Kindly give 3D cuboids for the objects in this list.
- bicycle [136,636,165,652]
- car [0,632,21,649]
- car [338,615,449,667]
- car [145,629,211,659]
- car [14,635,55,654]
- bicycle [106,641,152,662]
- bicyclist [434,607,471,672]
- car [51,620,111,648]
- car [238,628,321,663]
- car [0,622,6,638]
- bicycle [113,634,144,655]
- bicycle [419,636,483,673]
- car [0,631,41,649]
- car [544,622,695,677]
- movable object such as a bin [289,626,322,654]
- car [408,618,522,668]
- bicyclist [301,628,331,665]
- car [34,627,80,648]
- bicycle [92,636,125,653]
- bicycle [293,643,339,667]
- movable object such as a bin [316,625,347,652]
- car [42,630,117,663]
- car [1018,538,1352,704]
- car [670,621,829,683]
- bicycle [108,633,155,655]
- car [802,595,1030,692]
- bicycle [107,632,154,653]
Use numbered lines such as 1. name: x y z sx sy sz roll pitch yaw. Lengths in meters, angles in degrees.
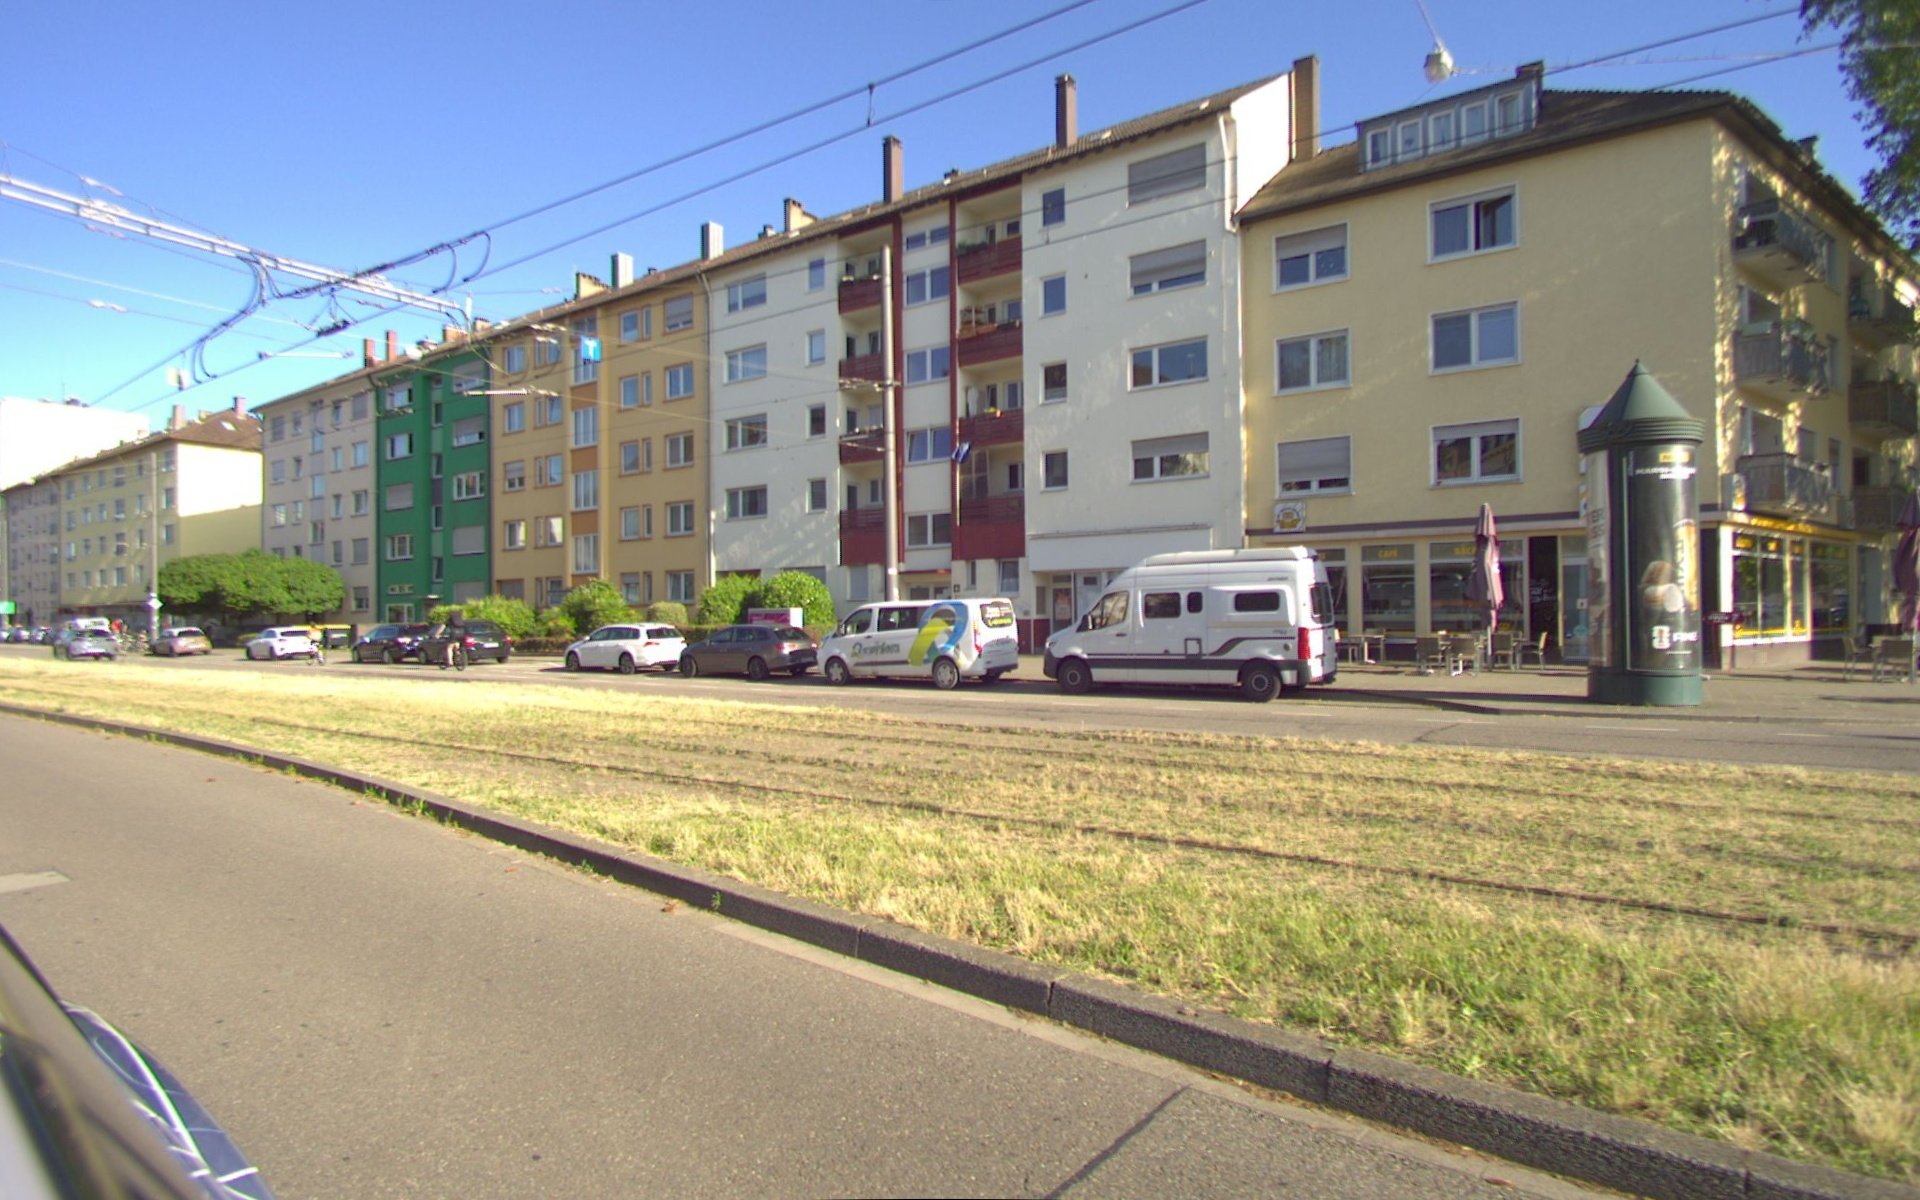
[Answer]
1. bicycle: -45.681 2.499 57.110 2.042 0.872 0.374 -2 0 24
2. car: -86.016 3.619 90.613 4.402 1.395 1.769 -2 1 33
3. car: -22.089 1.578 39.441 4.599 1.851 1.976 -2 0 36
4. car: -41.139 2.290 53.211 3.723 1.453 1.622 -2 0 33
5. car: -77.030 3.709 84.235 3.759 1.395 1.768 -2 1 35
6. bicycle: -48.815 3.019 59.460 0.615 1.101 2.027 -2 1 41
7. bicyclist: -16.328 1.274 32.572 0.647 2.029 0.766 -2 1 35
8. car: -67.598 2.628 77.773 5.483 1.964 1.978 -2 1 33
9. car: -30.659 2.020 45.562 4.367 1.465 1.713 -2 -1 36
10. car: -92.401 2.942 96.107 4.190 1.497 1.743 -2 1 35
11. bicycle: -46.139 2.461 56.154 1.924 1.101 0.507 -2 0 24
12. bicycle: -16.450 1.742 32.697 2.469 1.155 0.761 -2 -4 36
13. car: -81.236 3.484 87.419 4.405 1.431 1.768 -2 1 35
14. car: -10.403 1.490 30.814 4.690 1.503 1.877 -2 0 34
15. movable object such as a bin: -34.810 2.125 53.818 1.038 1.378 1.136 -1 1 38
16. car: -17.961 1.553 36.683 4.142 1.619 1.976 -2 1 36
17. bicyclist: -24.359 1.743 38.293 0.647 1.394 0.766 -2 -2 35
18. car: -72.269 2.997 80.984 4.585 1.485 1.768 -2 1 35
19. bicycle: -62.454 3.281 74.240 0.389 1.114 1.803 -2 1 35
20. bicycle: -24.382 2.059 38.316 2.064 0.886 0.761 -2 -4 36
21. movable object such as a bin: -34.089 2.084 54.884 1.038 1.378 1.136 -1 1 38
22. car: -39.796 2.096 45.709 4.209 1.459 1.679 -2 -3 37
23. car: 4.340 0.426 20.322 6.216 2.890 2.014 -2 -1 37
24. car: -5.776 1.392 27.551 4.313 1.526 1.681 -2 -1 33
25. bicycle: -47.792 2.534 58.389 0.615 1.101 2.027 -2 1 41
26. car: -1.143 1.000 24.274 5.360 2.036 2.014 -2 1 37
27. bicycle: -48.272 2.462 58.899 0.615 1.101 2.027 -2 1 41
